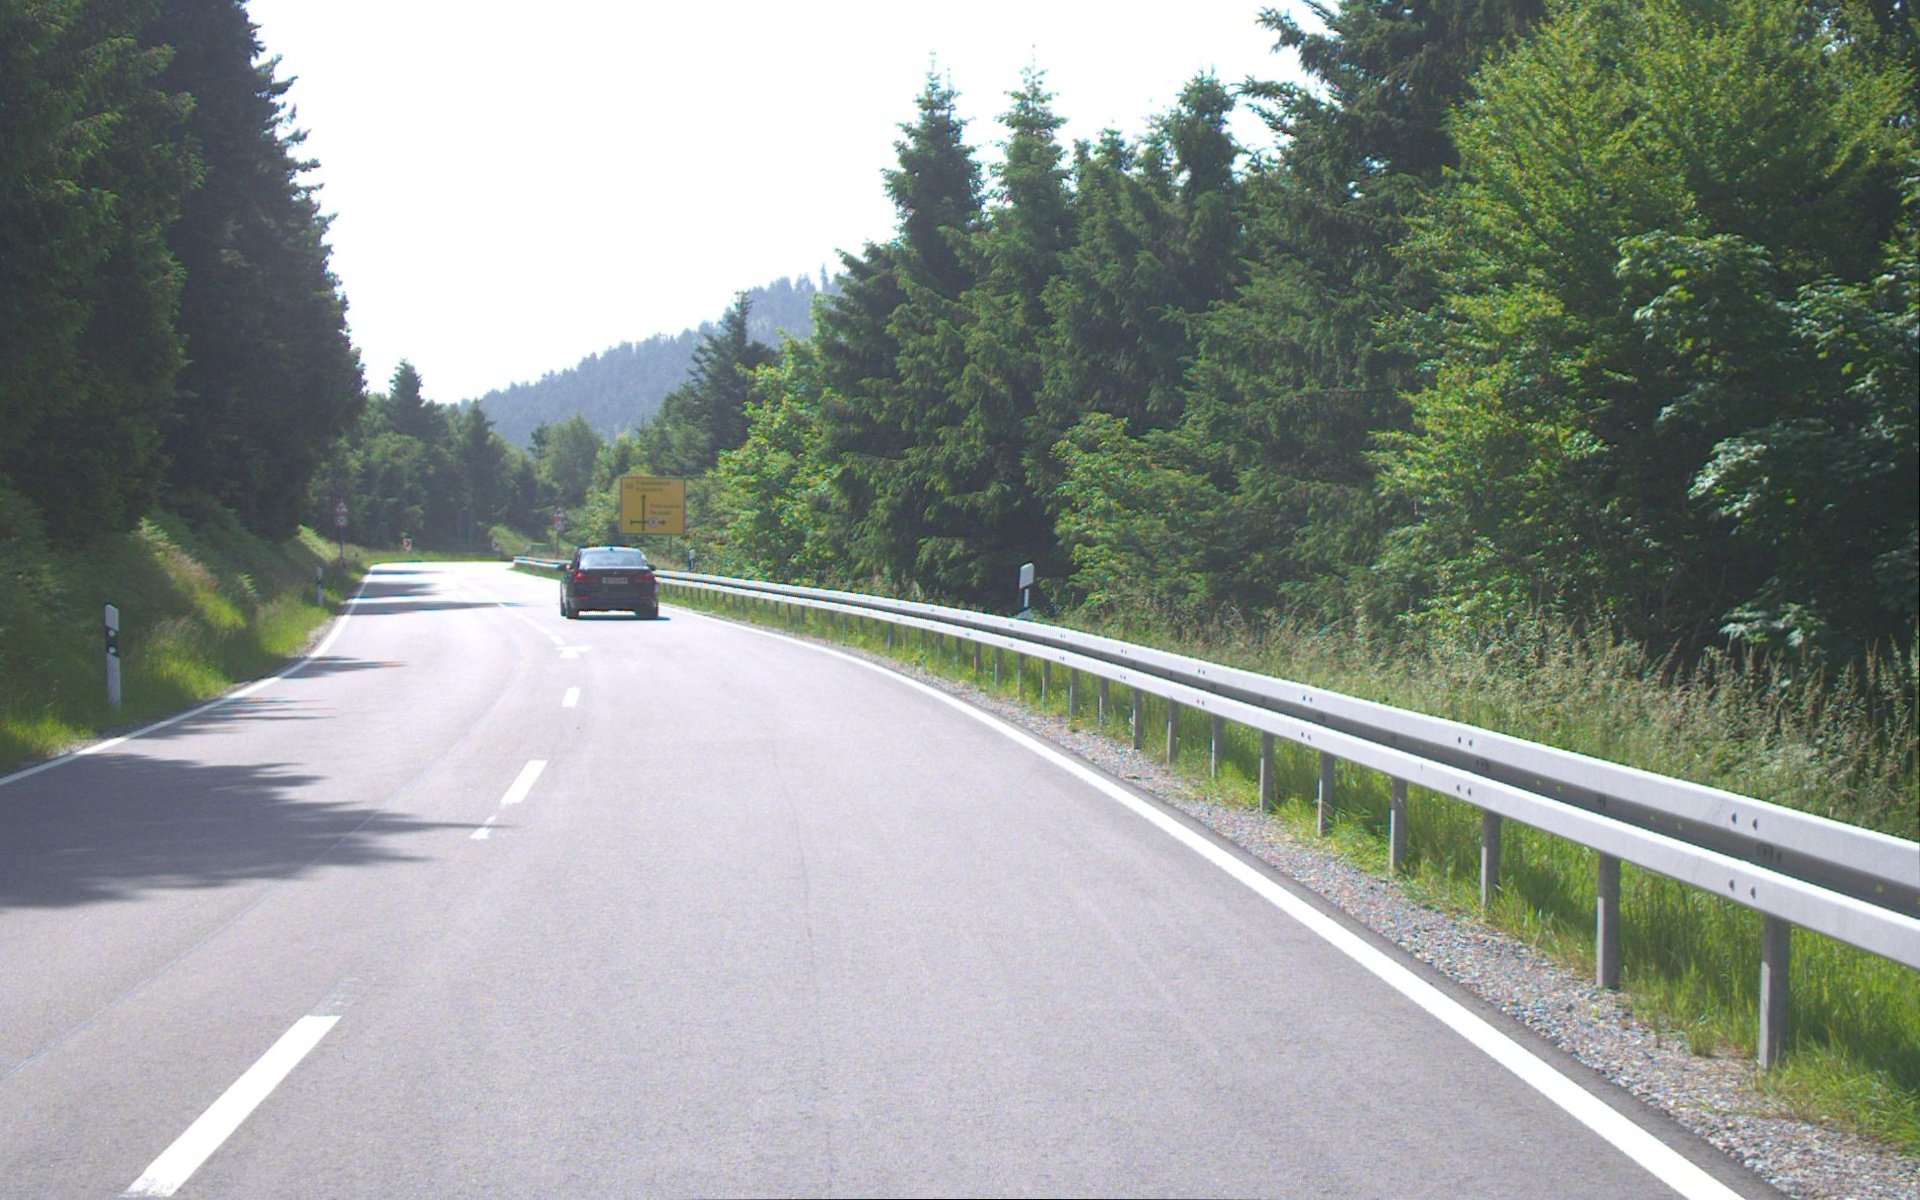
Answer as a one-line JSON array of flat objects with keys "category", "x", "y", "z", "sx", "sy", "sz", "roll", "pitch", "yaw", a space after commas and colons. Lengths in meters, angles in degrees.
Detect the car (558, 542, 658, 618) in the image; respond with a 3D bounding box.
[{"category": "car", "x": -7.055, "y": -0.412, "z": 68.590, "sx": 1.775, "sy": 1.437, "sz": 3.710, "roll": -2, "pitch": 1, "yaw": -9}]
